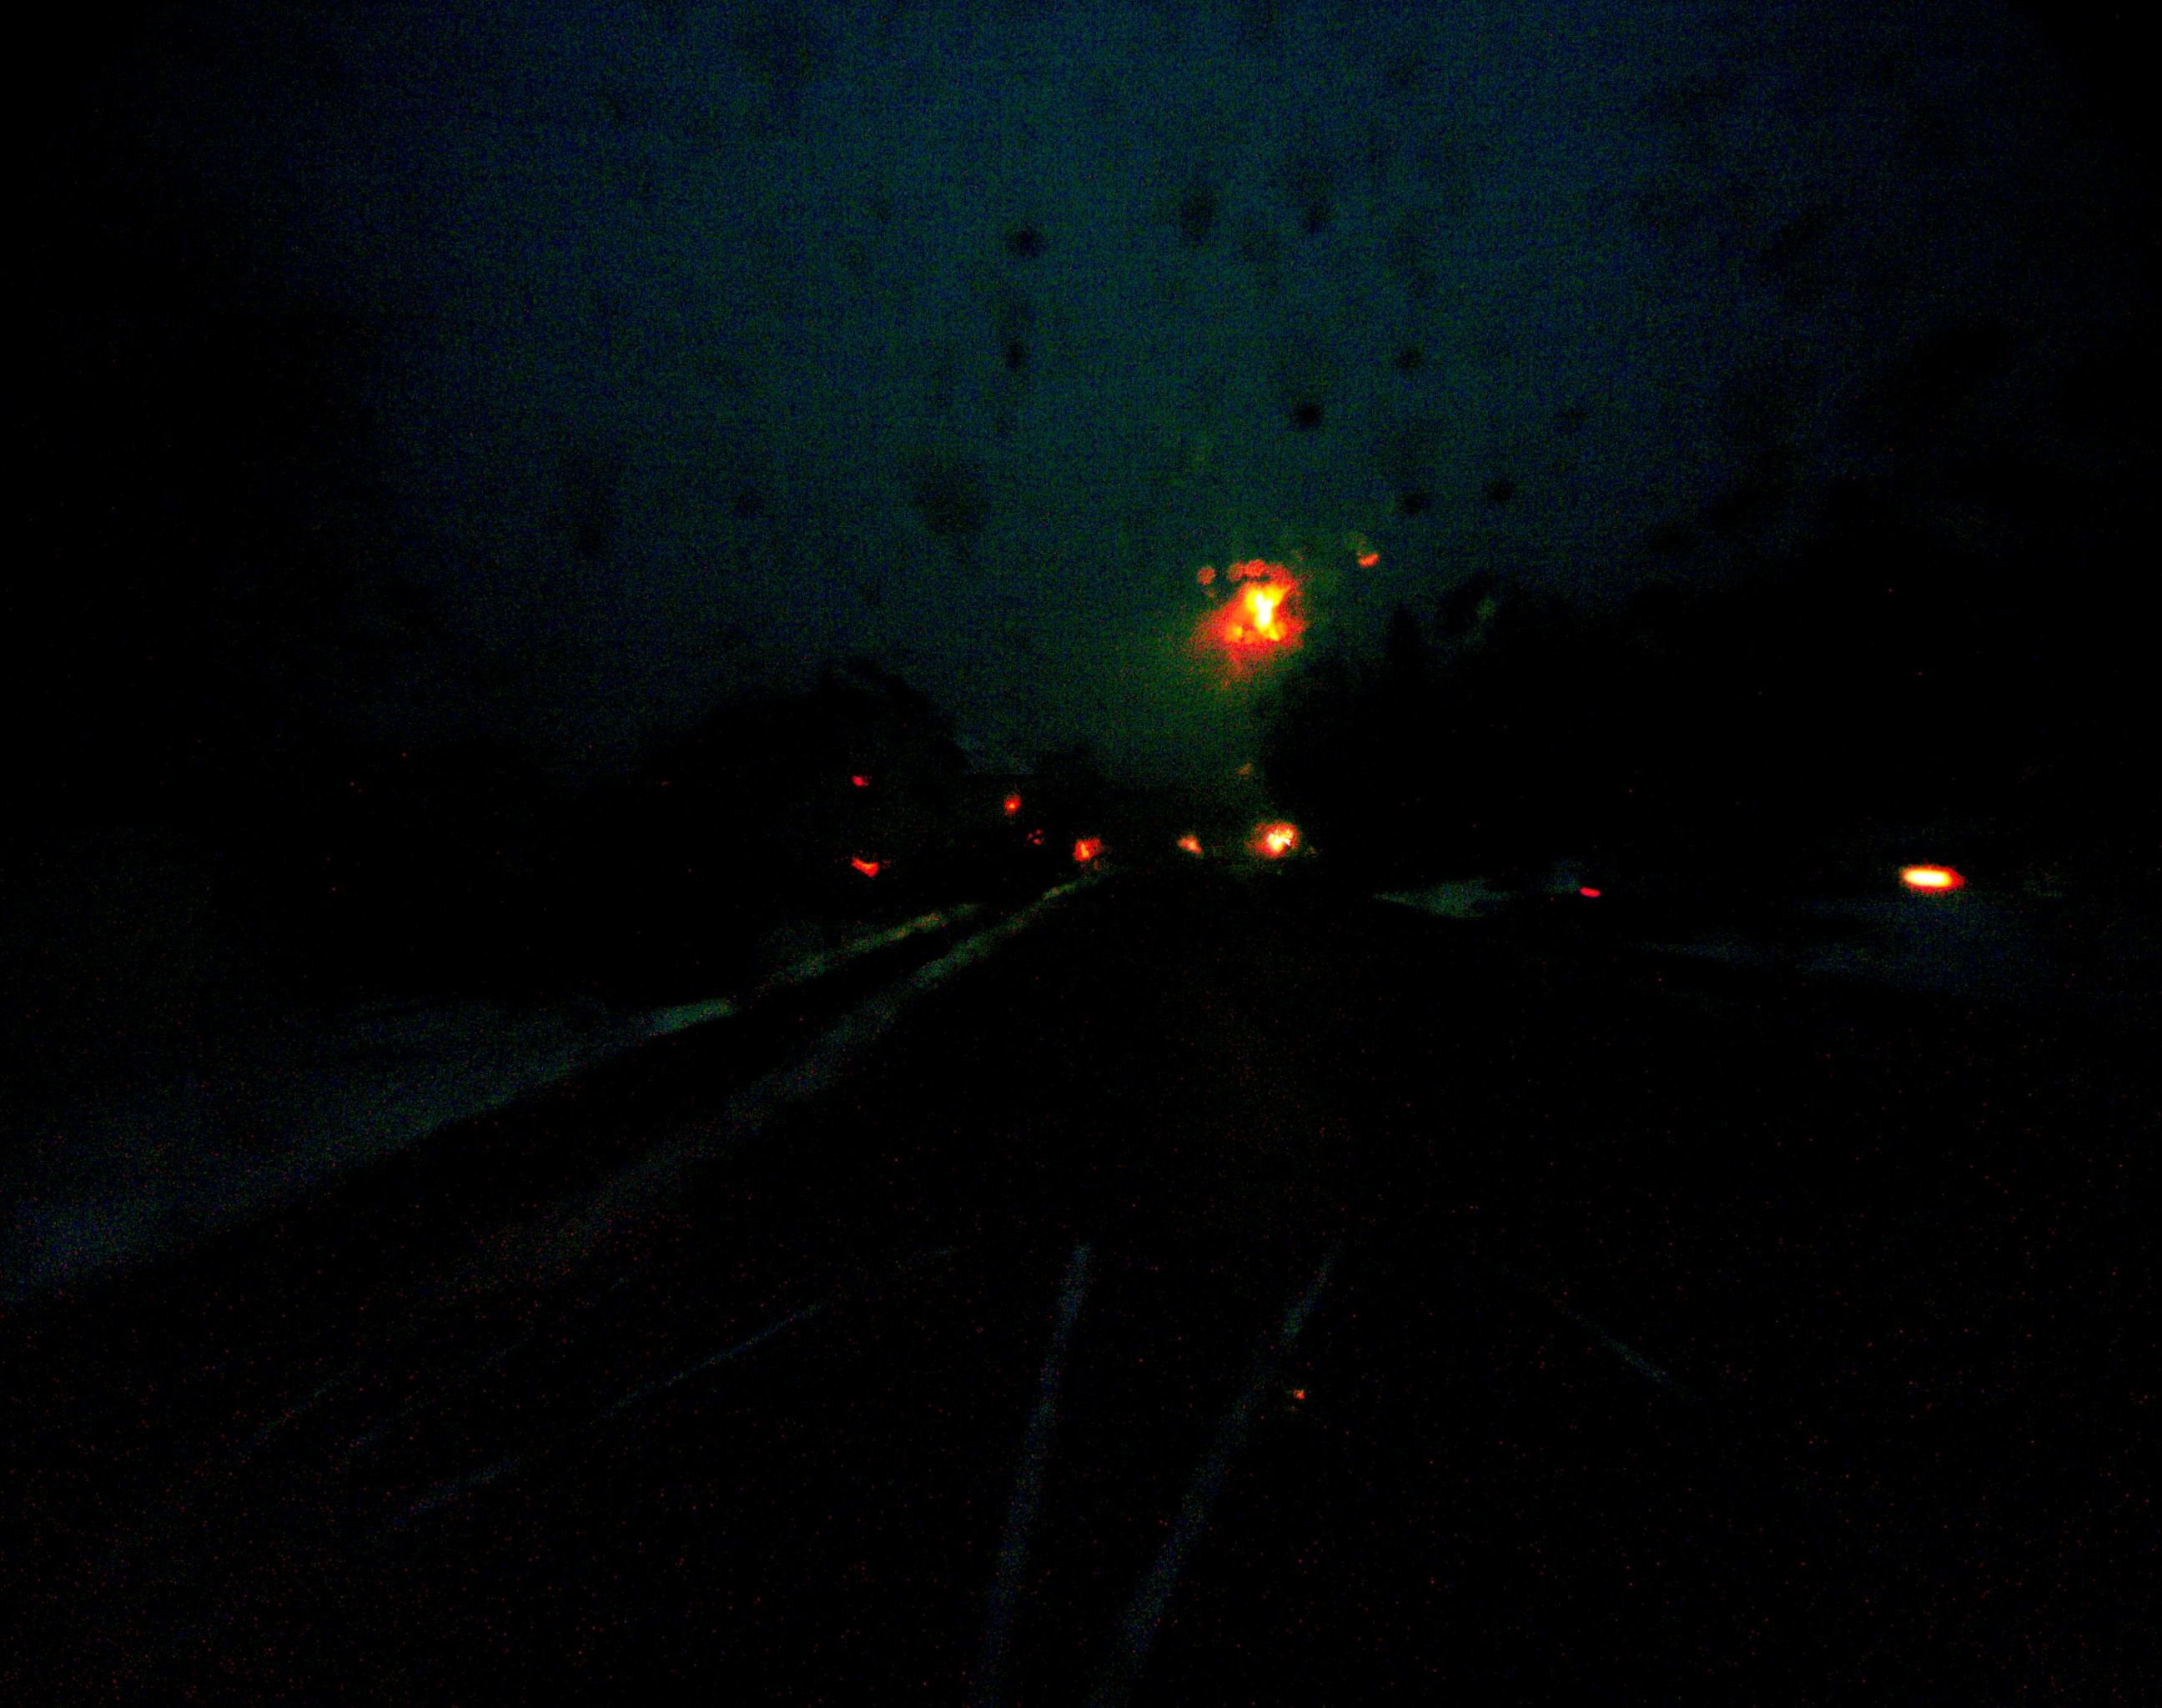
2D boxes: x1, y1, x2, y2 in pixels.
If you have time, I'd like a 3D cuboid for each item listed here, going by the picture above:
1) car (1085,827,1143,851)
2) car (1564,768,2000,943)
[{"bbox_3d":[2.633,-1.184,61.172,4.209,1.848,1.914,0,3,25],"label":"car"},{"bbox_3d":[9.262,0.072,10.576,3.993,1.600,1.905,-11,0,36],"label":"car"}]
